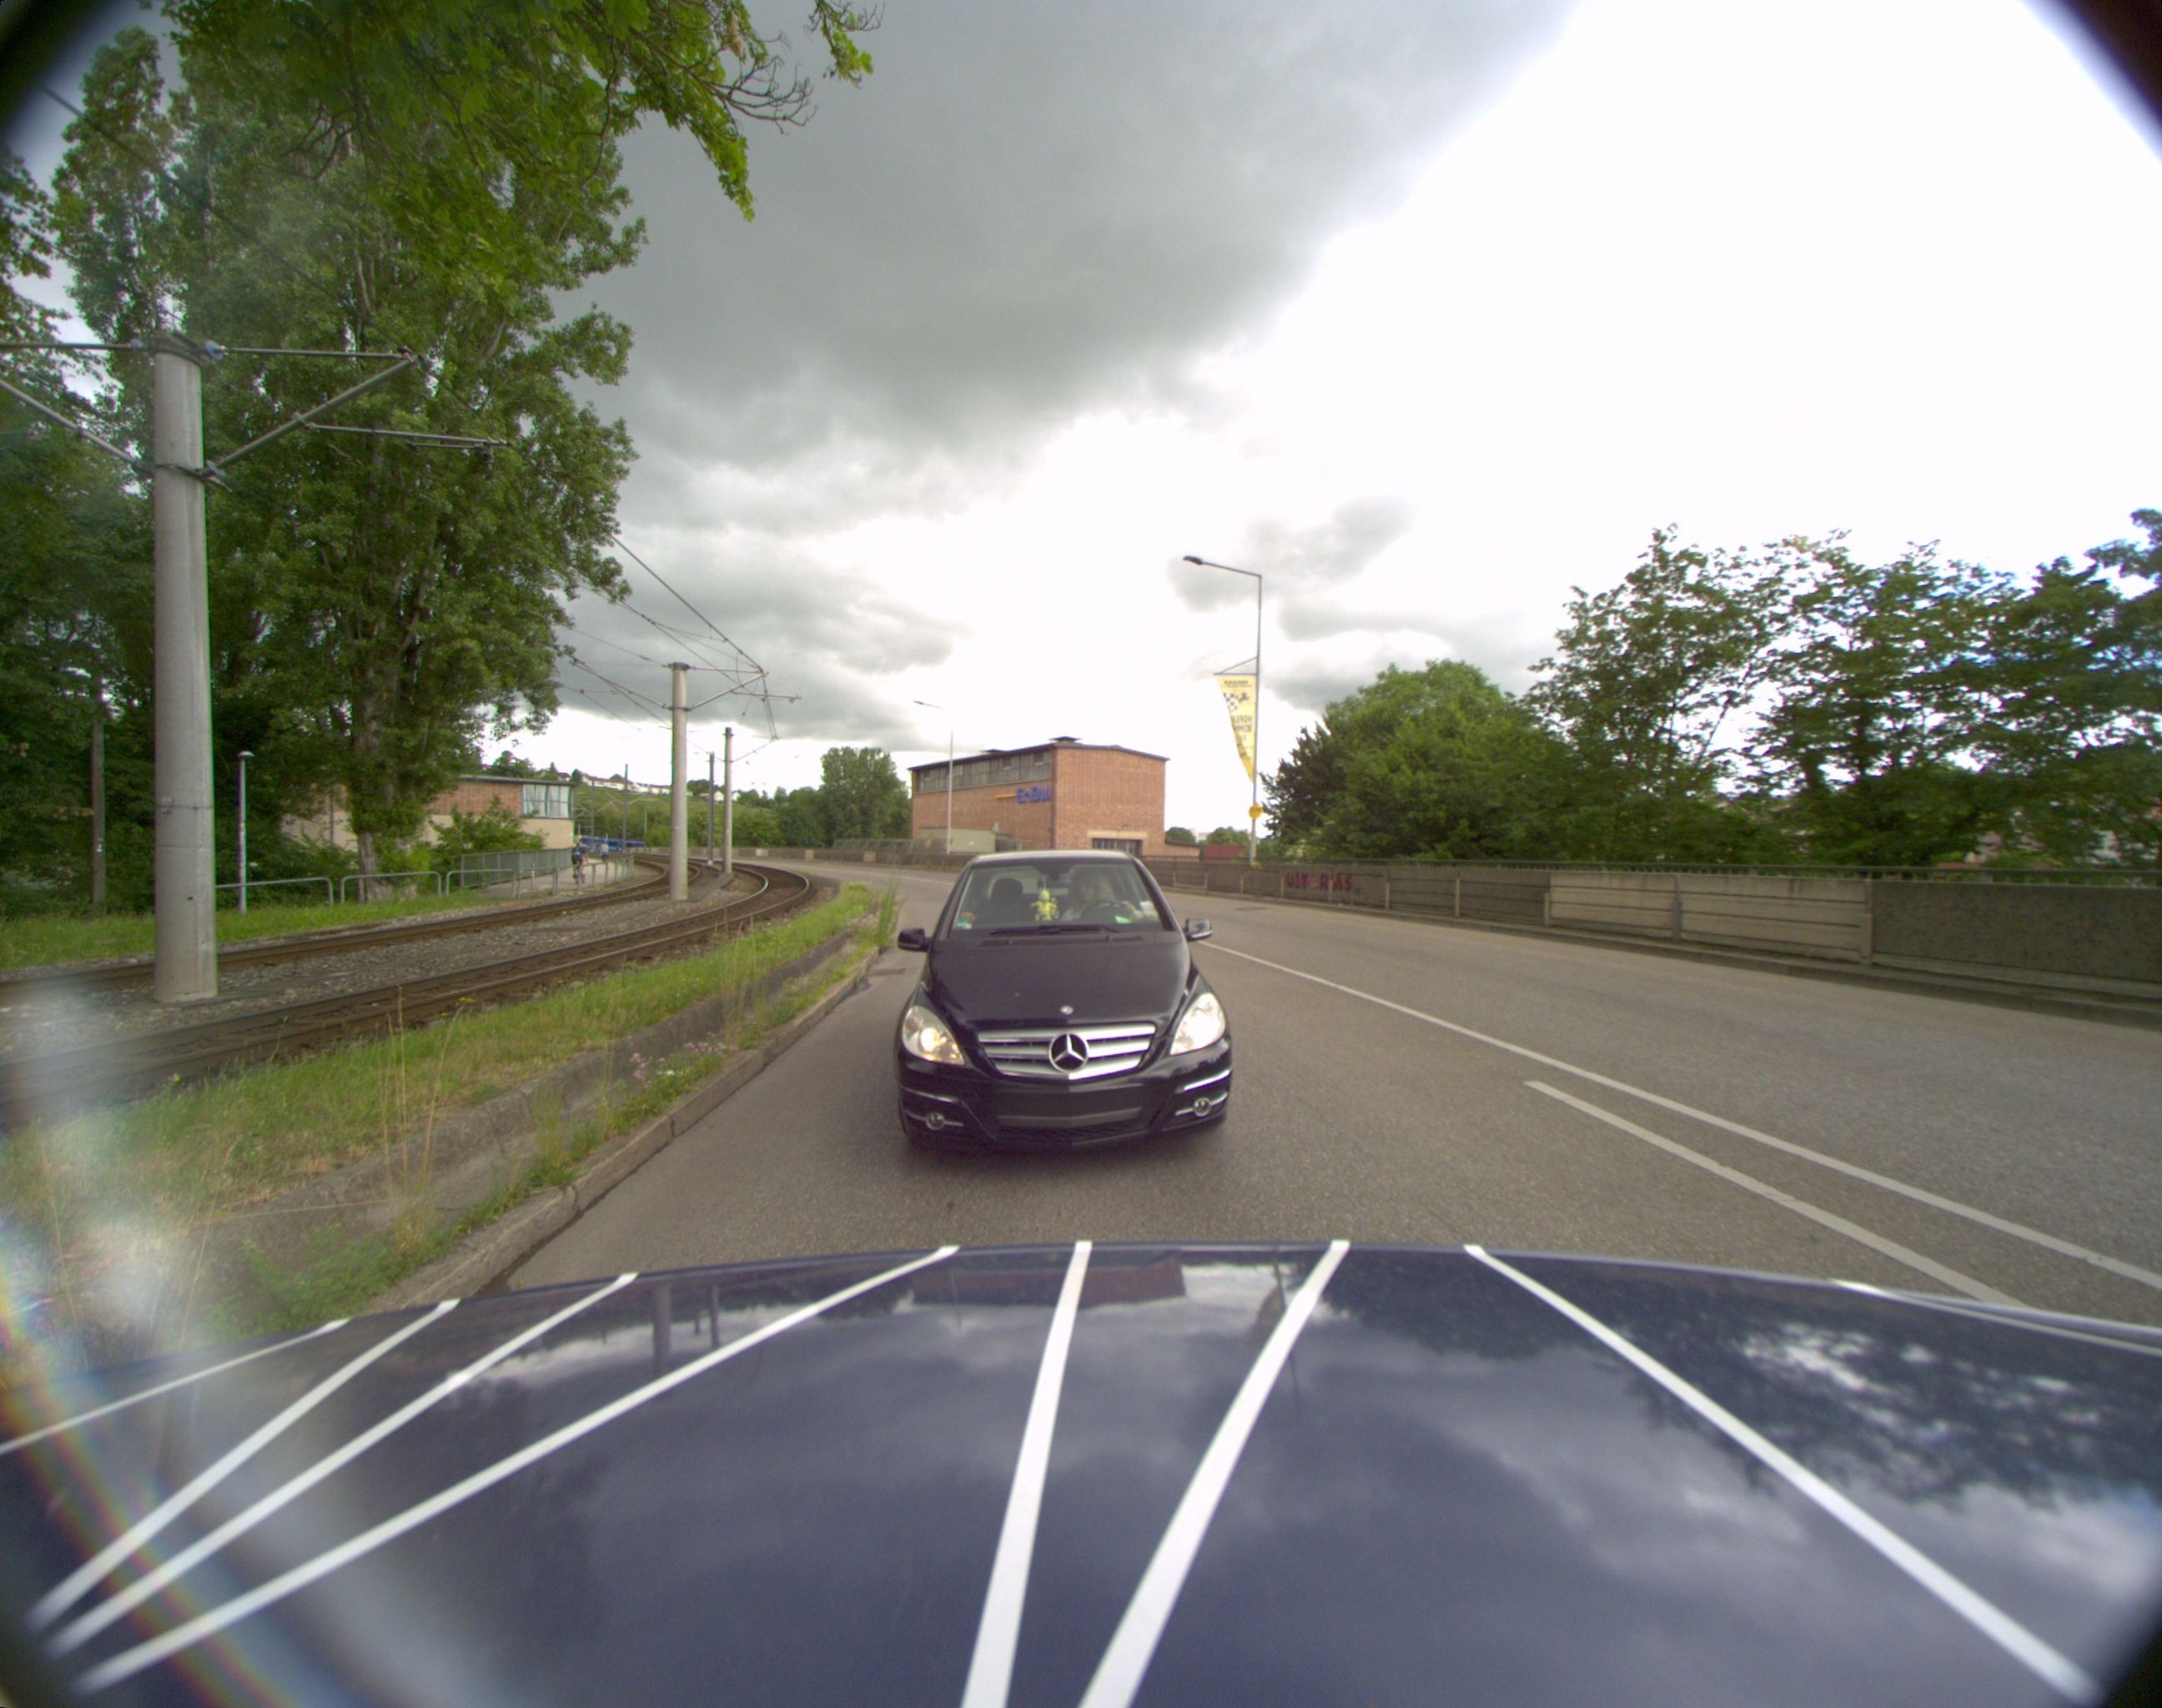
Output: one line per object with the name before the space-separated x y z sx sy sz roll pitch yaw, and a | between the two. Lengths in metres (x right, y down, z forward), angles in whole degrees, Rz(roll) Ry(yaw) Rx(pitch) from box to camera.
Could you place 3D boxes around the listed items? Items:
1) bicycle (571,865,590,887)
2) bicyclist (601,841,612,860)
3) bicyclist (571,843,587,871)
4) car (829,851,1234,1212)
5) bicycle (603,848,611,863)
bicycle | -19.343 0.832 29.387 0.348 0.790 1.544 0 1 -23
bicyclist | -33.162 -0.248 53.105 0.596 1.352 0.908 -2 1 -32
bicyclist | -19.355 0.109 29.313 0.418 1.077 0.473 0 1 -23
car | -0.247 0.823 5.520 1.861 1.612 3.999 0 1 -1
bicycle | -33.142 0.082 53.145 0.428 1.044 2.075 -2 1 -31
